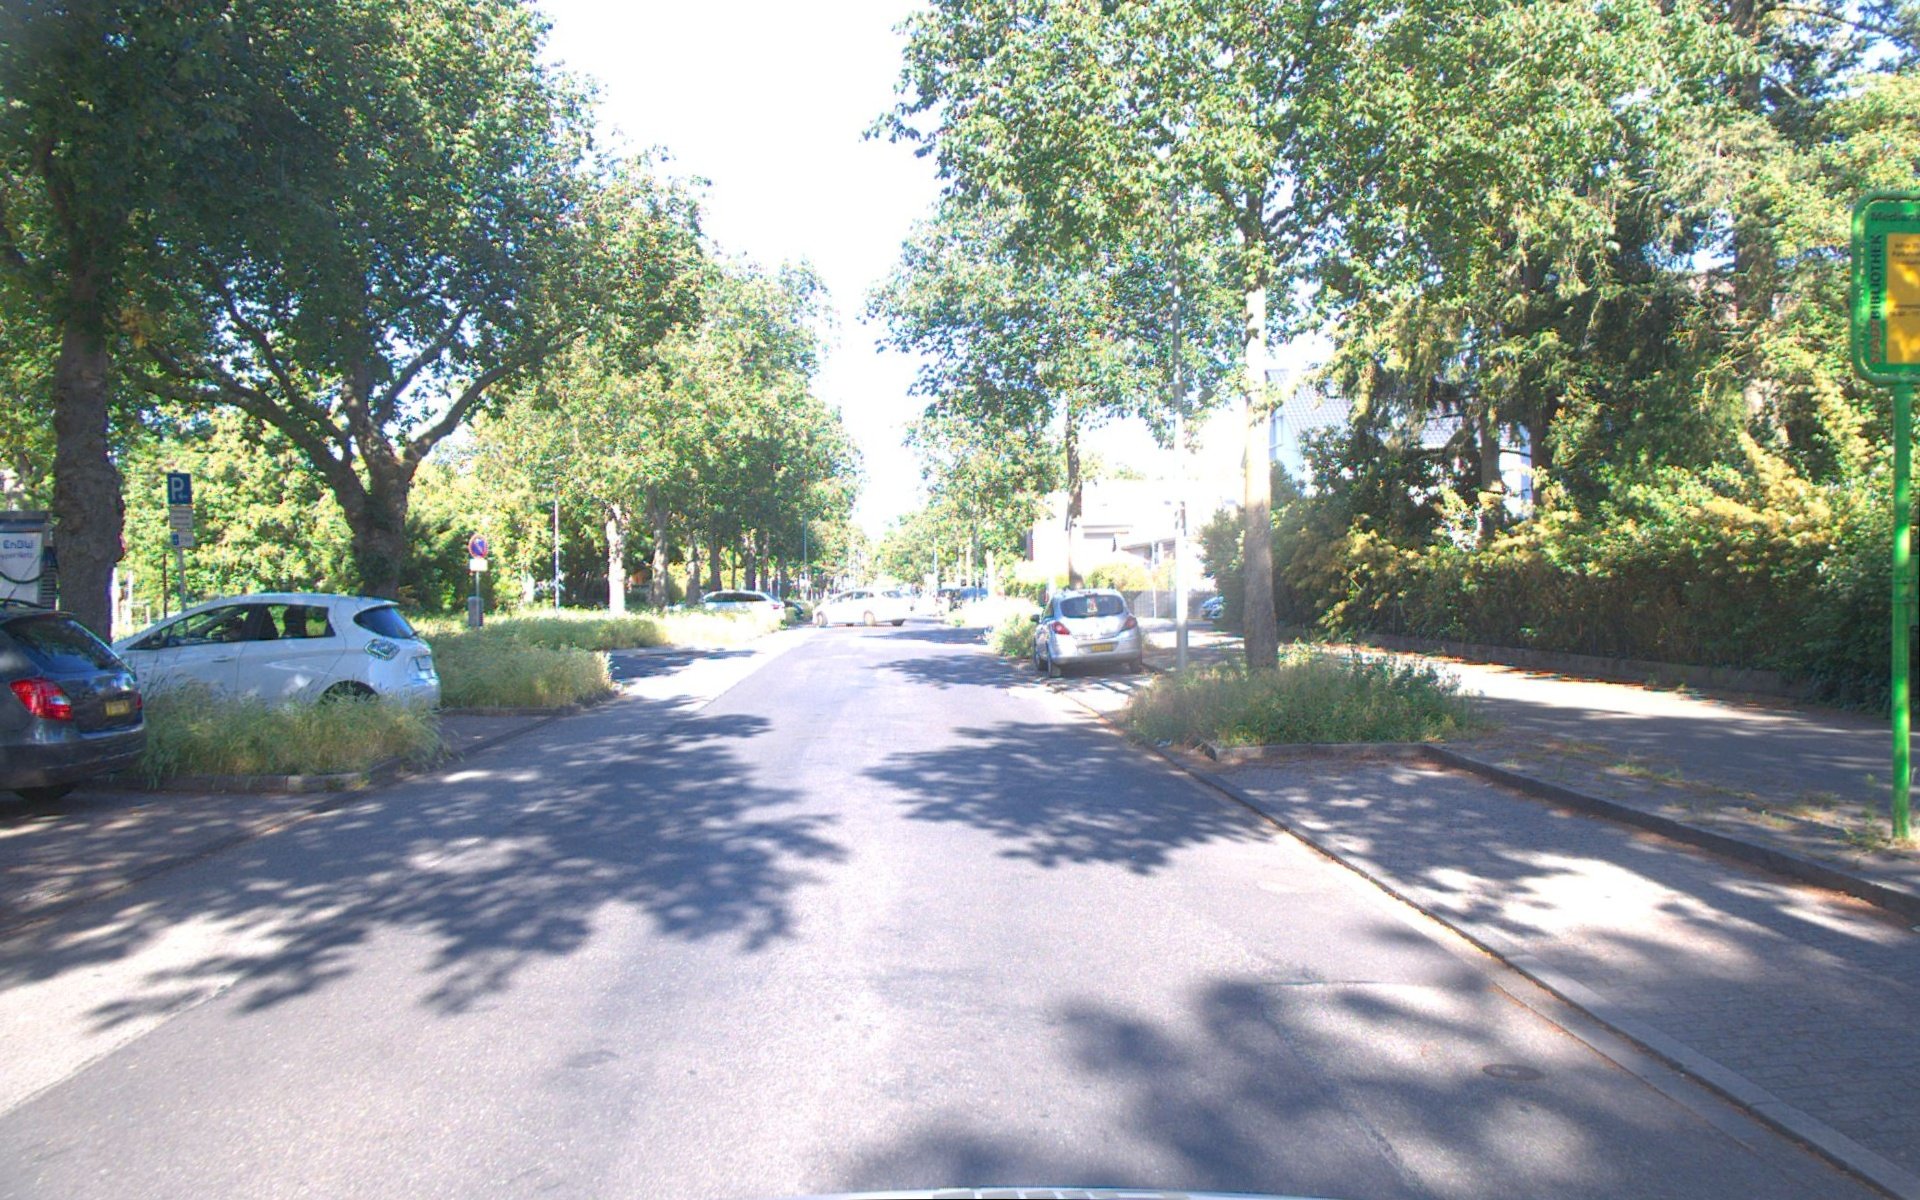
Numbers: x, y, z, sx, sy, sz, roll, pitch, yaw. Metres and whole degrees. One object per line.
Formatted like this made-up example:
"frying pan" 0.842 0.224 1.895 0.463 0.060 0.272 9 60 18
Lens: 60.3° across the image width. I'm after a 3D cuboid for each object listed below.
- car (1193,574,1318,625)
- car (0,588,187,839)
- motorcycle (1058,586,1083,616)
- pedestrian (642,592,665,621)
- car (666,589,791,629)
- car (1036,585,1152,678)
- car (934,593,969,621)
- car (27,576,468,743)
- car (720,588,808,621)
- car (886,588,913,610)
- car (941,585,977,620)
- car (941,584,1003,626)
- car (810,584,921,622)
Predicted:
"car" 10.219 -0.030 57.376 3.913 1.668 1.773 -1 0 -9
"car" -7.973 0.686 11.809 3.908 1.617 1.998 3 0 -4
"motorcycle" 4.894 0.041 73.364 0.801 1.248 2.350 -2 0 -3
"pedestrian" -19.888 0.437 107.314 1.206 1.859 1.542 1 -1 -19
"car" -8.917 0.348 64.091 4.576 1.530 2.000 0 0 -1
"car" 2.456 0.558 30.485 1.951 1.537 4.002 -2 -1 4
"car" -0.596 0.463 109.462 1.955 1.758 3.996 -2 -1 -5
"car" -7.543 0.591 17.856 3.908 1.690 1.965 0 0 -4
"car" -9.901 0.227 83.829 4.280 1.558 1.806 1 0 -4
"car" -4.579 -0.095 124.990 1.954 1.534 3.656 2 0 -3
"car" -0.050 0.122 82.391 1.578 1.650 4.380 2 0 -2
"car" 0.472 0.201 70.705 1.956 1.650 4.373 2 0 -8
"car" -3.760 0.109 65.532 4.142 1.480 1.991 0 0 38
